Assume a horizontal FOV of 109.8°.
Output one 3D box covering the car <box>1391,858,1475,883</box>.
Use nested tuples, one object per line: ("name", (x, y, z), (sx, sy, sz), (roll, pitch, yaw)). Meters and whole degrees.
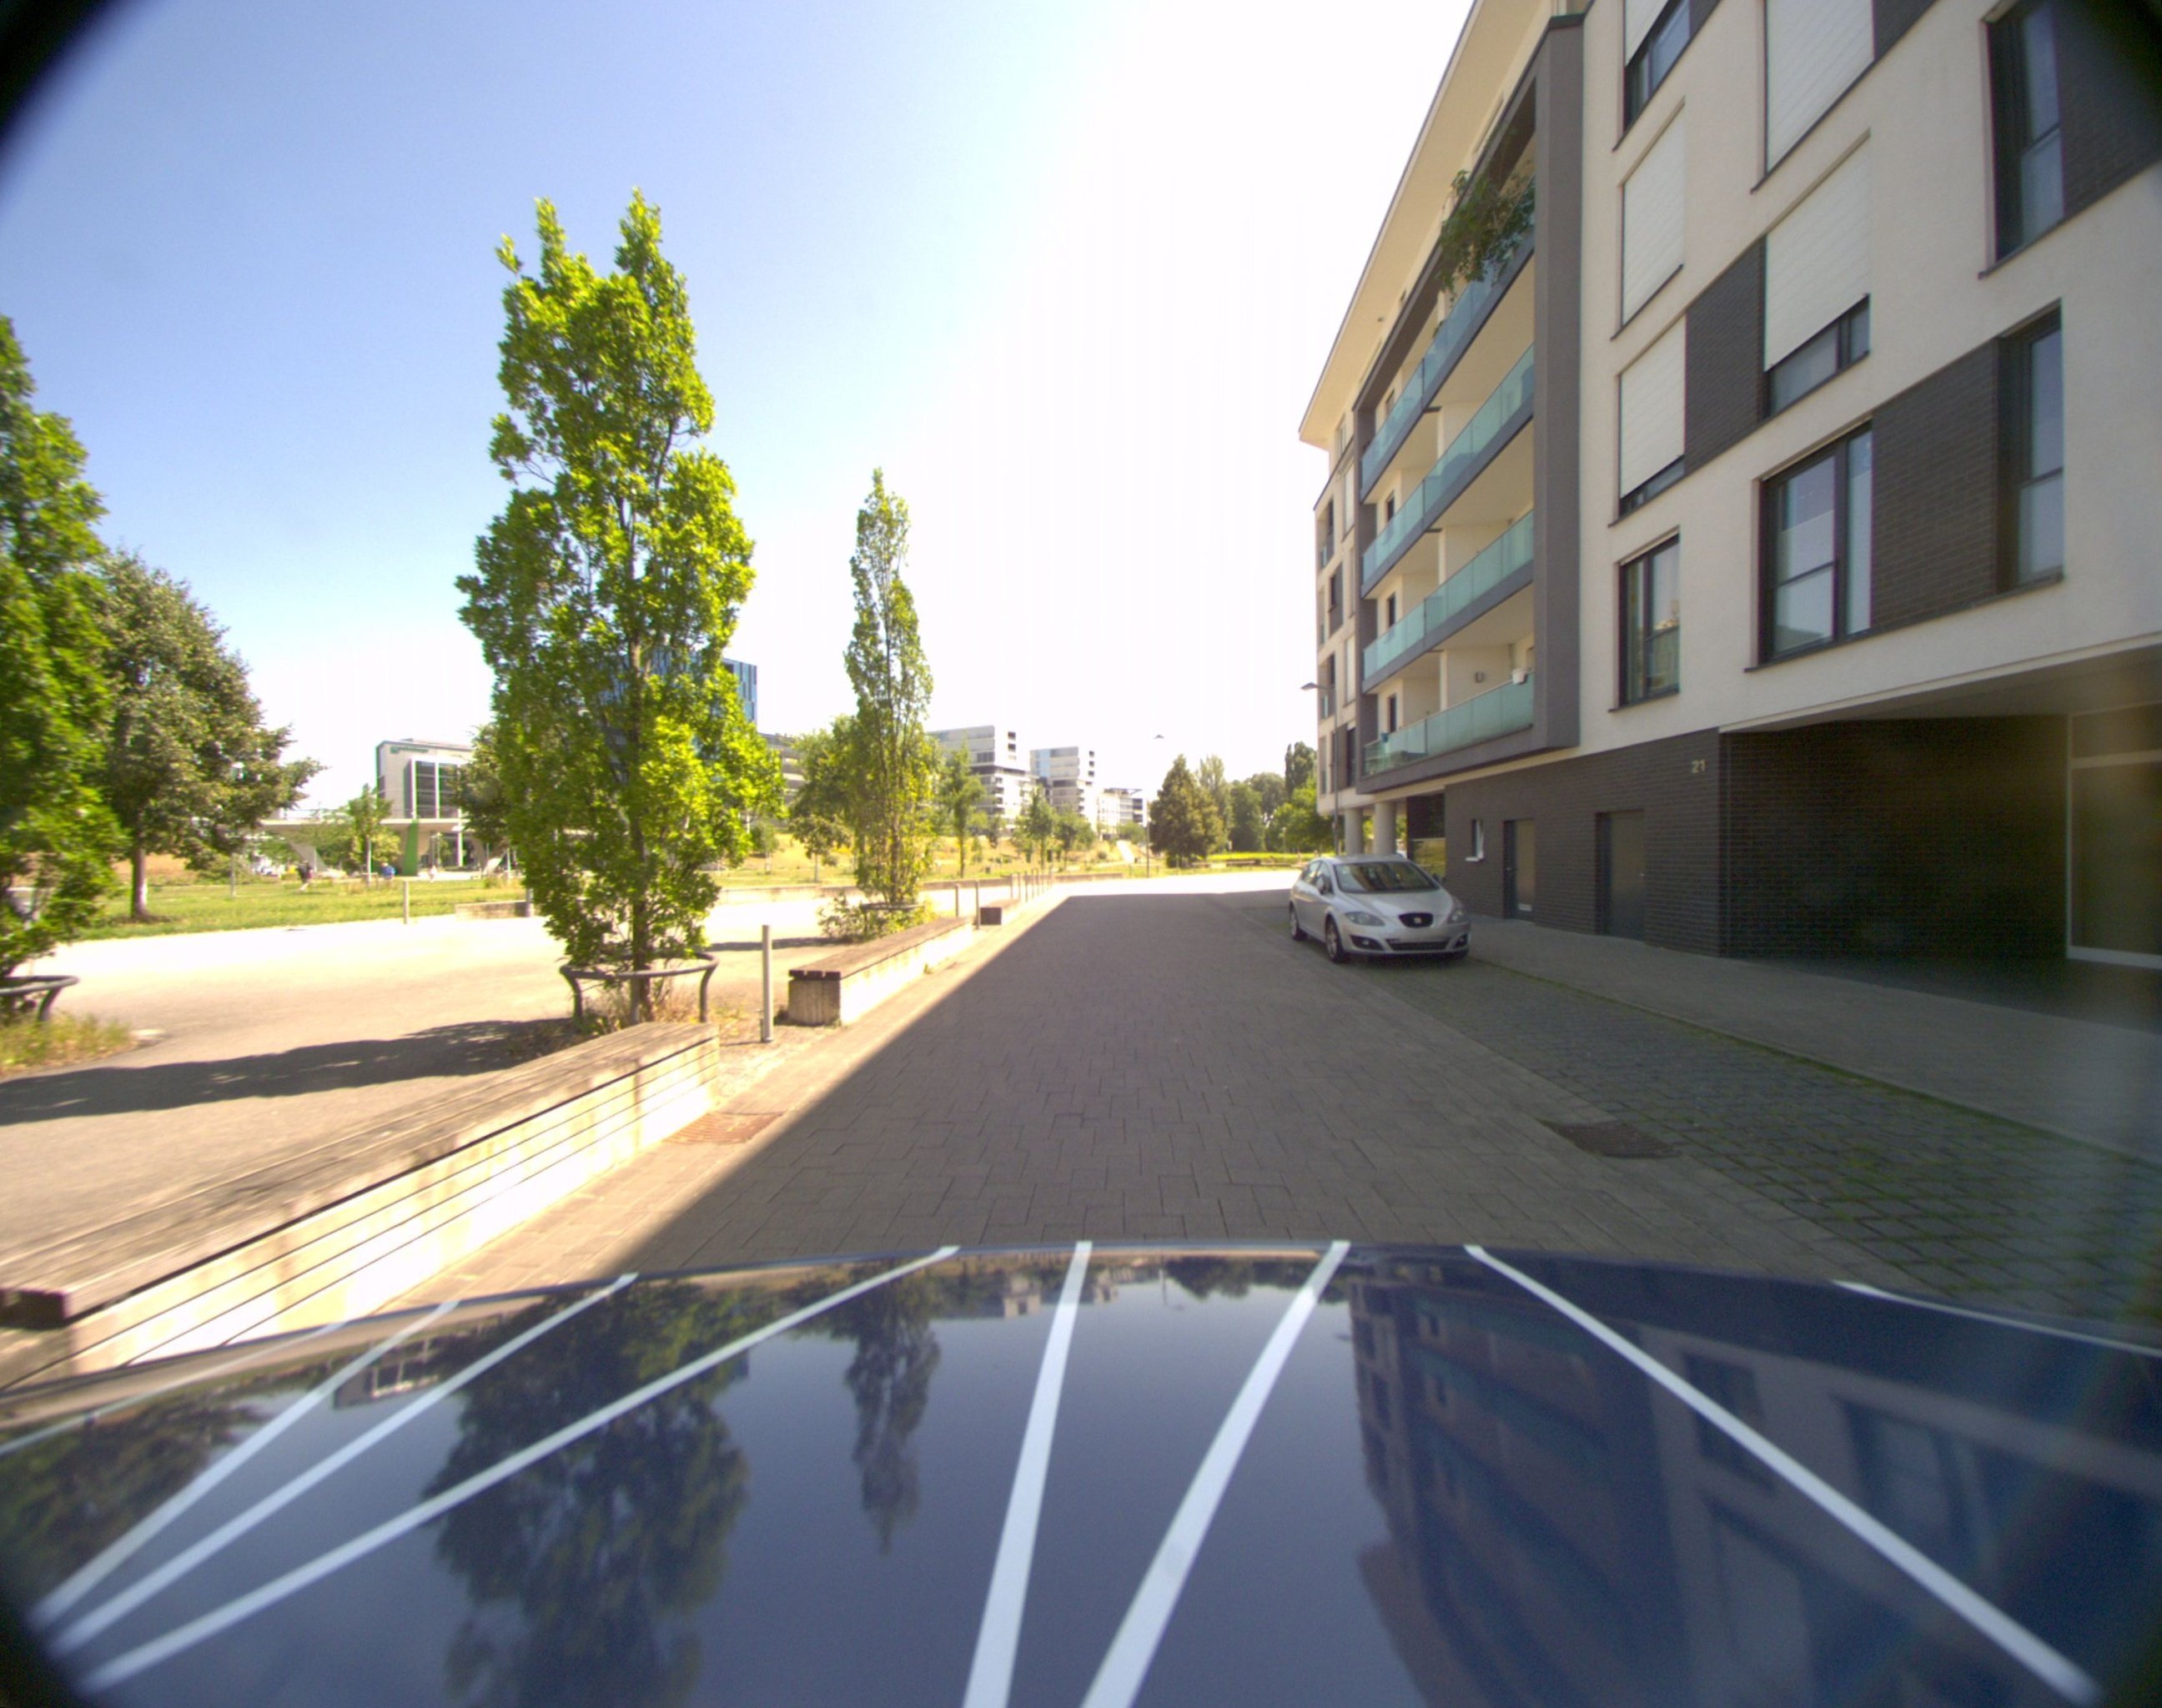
("car", (19.207, 0.869, 41.488), (4.002, 1.263, 1.776), (-1, 0, -16))

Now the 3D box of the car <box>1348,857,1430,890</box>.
("car", (17.887, 1.120, 44.166), (4.002, 1.772, 1.997), (-1, 1, -16))

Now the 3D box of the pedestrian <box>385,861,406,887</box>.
("pedestrian", (-45.725, 1.337, 50.667), (0.816, 1.717, 0.614), (-1, 1, -18))

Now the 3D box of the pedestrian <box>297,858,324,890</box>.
("pedestrian", (-42.125, 1.089, 41.552), (0.816, 1.717, 0.614), (-1, 1, -18))

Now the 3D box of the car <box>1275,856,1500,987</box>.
("car", (4.241, 0.824, 11.277), (1.786, 1.496, 4.115), (-2, 0, 3))
